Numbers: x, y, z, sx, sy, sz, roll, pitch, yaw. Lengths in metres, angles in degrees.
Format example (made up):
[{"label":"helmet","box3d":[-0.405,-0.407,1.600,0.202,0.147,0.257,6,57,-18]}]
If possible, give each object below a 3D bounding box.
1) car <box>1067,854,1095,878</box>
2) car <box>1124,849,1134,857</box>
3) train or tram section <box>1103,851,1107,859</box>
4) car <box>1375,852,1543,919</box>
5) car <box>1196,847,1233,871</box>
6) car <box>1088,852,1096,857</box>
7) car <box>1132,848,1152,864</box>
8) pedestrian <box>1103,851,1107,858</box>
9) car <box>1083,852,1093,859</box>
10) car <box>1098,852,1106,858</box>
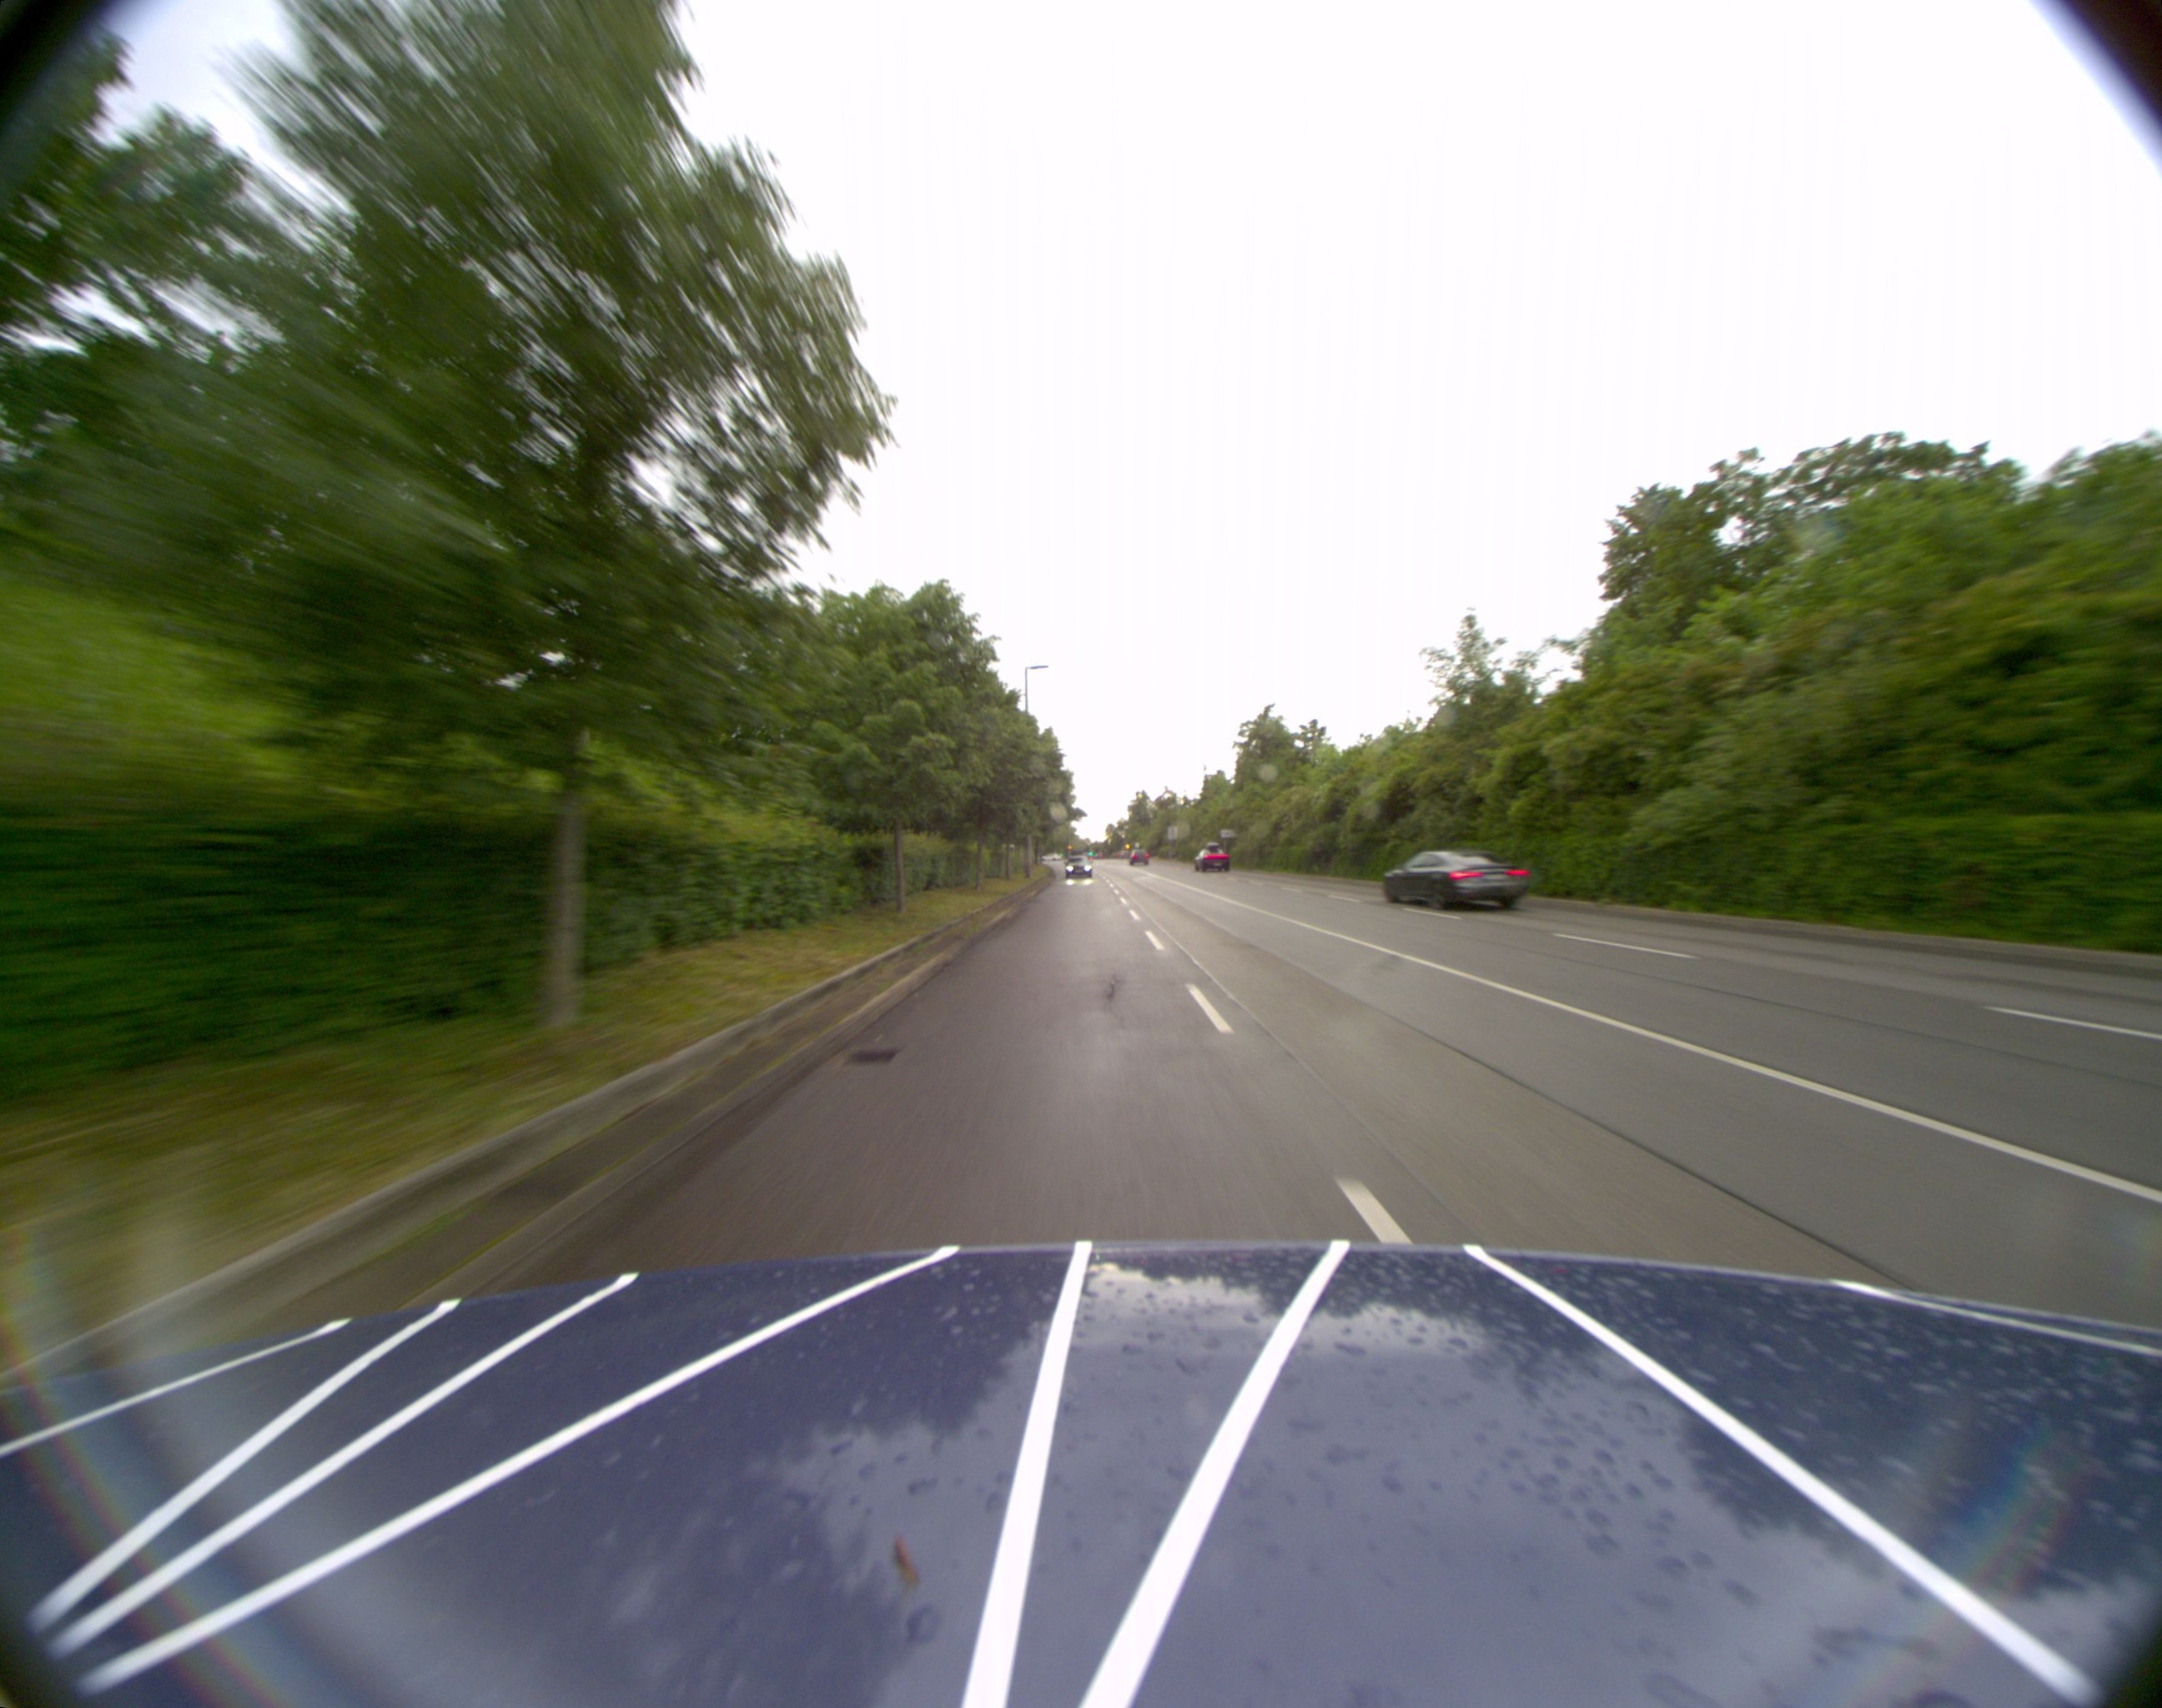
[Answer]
[{"label":"car","box3d":[-0.028,0.785,52.541,1.738,1.577,4.285,-1,0,-2]},{"label":"car","box3d":[8.671,-0.219,137.352,1.552,1.429,3.695,-1,1,0]},{"label":"train or tram section","box3d":[4.878,0.118,155.038,0.793,1.561,2.383,-2,1,-1]},{"label":"car","box3d":[9.142,0.700,18.914,1.764,1.373,4.838,-2,0,1]},{"label":"car","box3d":[9.663,0.327,55.406,1.903,1.544,4.630,-2,0,1]},{"label":"car","box3d":[2.960,0.159,203.816,1.679,1.459,3.860,-2,1,-3]},{"label":"car","box3d":[6.826,0.230,85.463,1.817,1.648,4.595,-2,0,0]},{"label":"pedestrian","box3d":[4.875,0.119,155.033,0.793,1.376,0.974,-2,1,-1]},{"label":"car","box3d":[1.477,0.266,160.903,1.782,1.459,3.996,-1,0,-2]},{"label":"car","box3d":[5.183,0.231,188.451,1.805,1.597,4.427,-2,1,-2]}]
